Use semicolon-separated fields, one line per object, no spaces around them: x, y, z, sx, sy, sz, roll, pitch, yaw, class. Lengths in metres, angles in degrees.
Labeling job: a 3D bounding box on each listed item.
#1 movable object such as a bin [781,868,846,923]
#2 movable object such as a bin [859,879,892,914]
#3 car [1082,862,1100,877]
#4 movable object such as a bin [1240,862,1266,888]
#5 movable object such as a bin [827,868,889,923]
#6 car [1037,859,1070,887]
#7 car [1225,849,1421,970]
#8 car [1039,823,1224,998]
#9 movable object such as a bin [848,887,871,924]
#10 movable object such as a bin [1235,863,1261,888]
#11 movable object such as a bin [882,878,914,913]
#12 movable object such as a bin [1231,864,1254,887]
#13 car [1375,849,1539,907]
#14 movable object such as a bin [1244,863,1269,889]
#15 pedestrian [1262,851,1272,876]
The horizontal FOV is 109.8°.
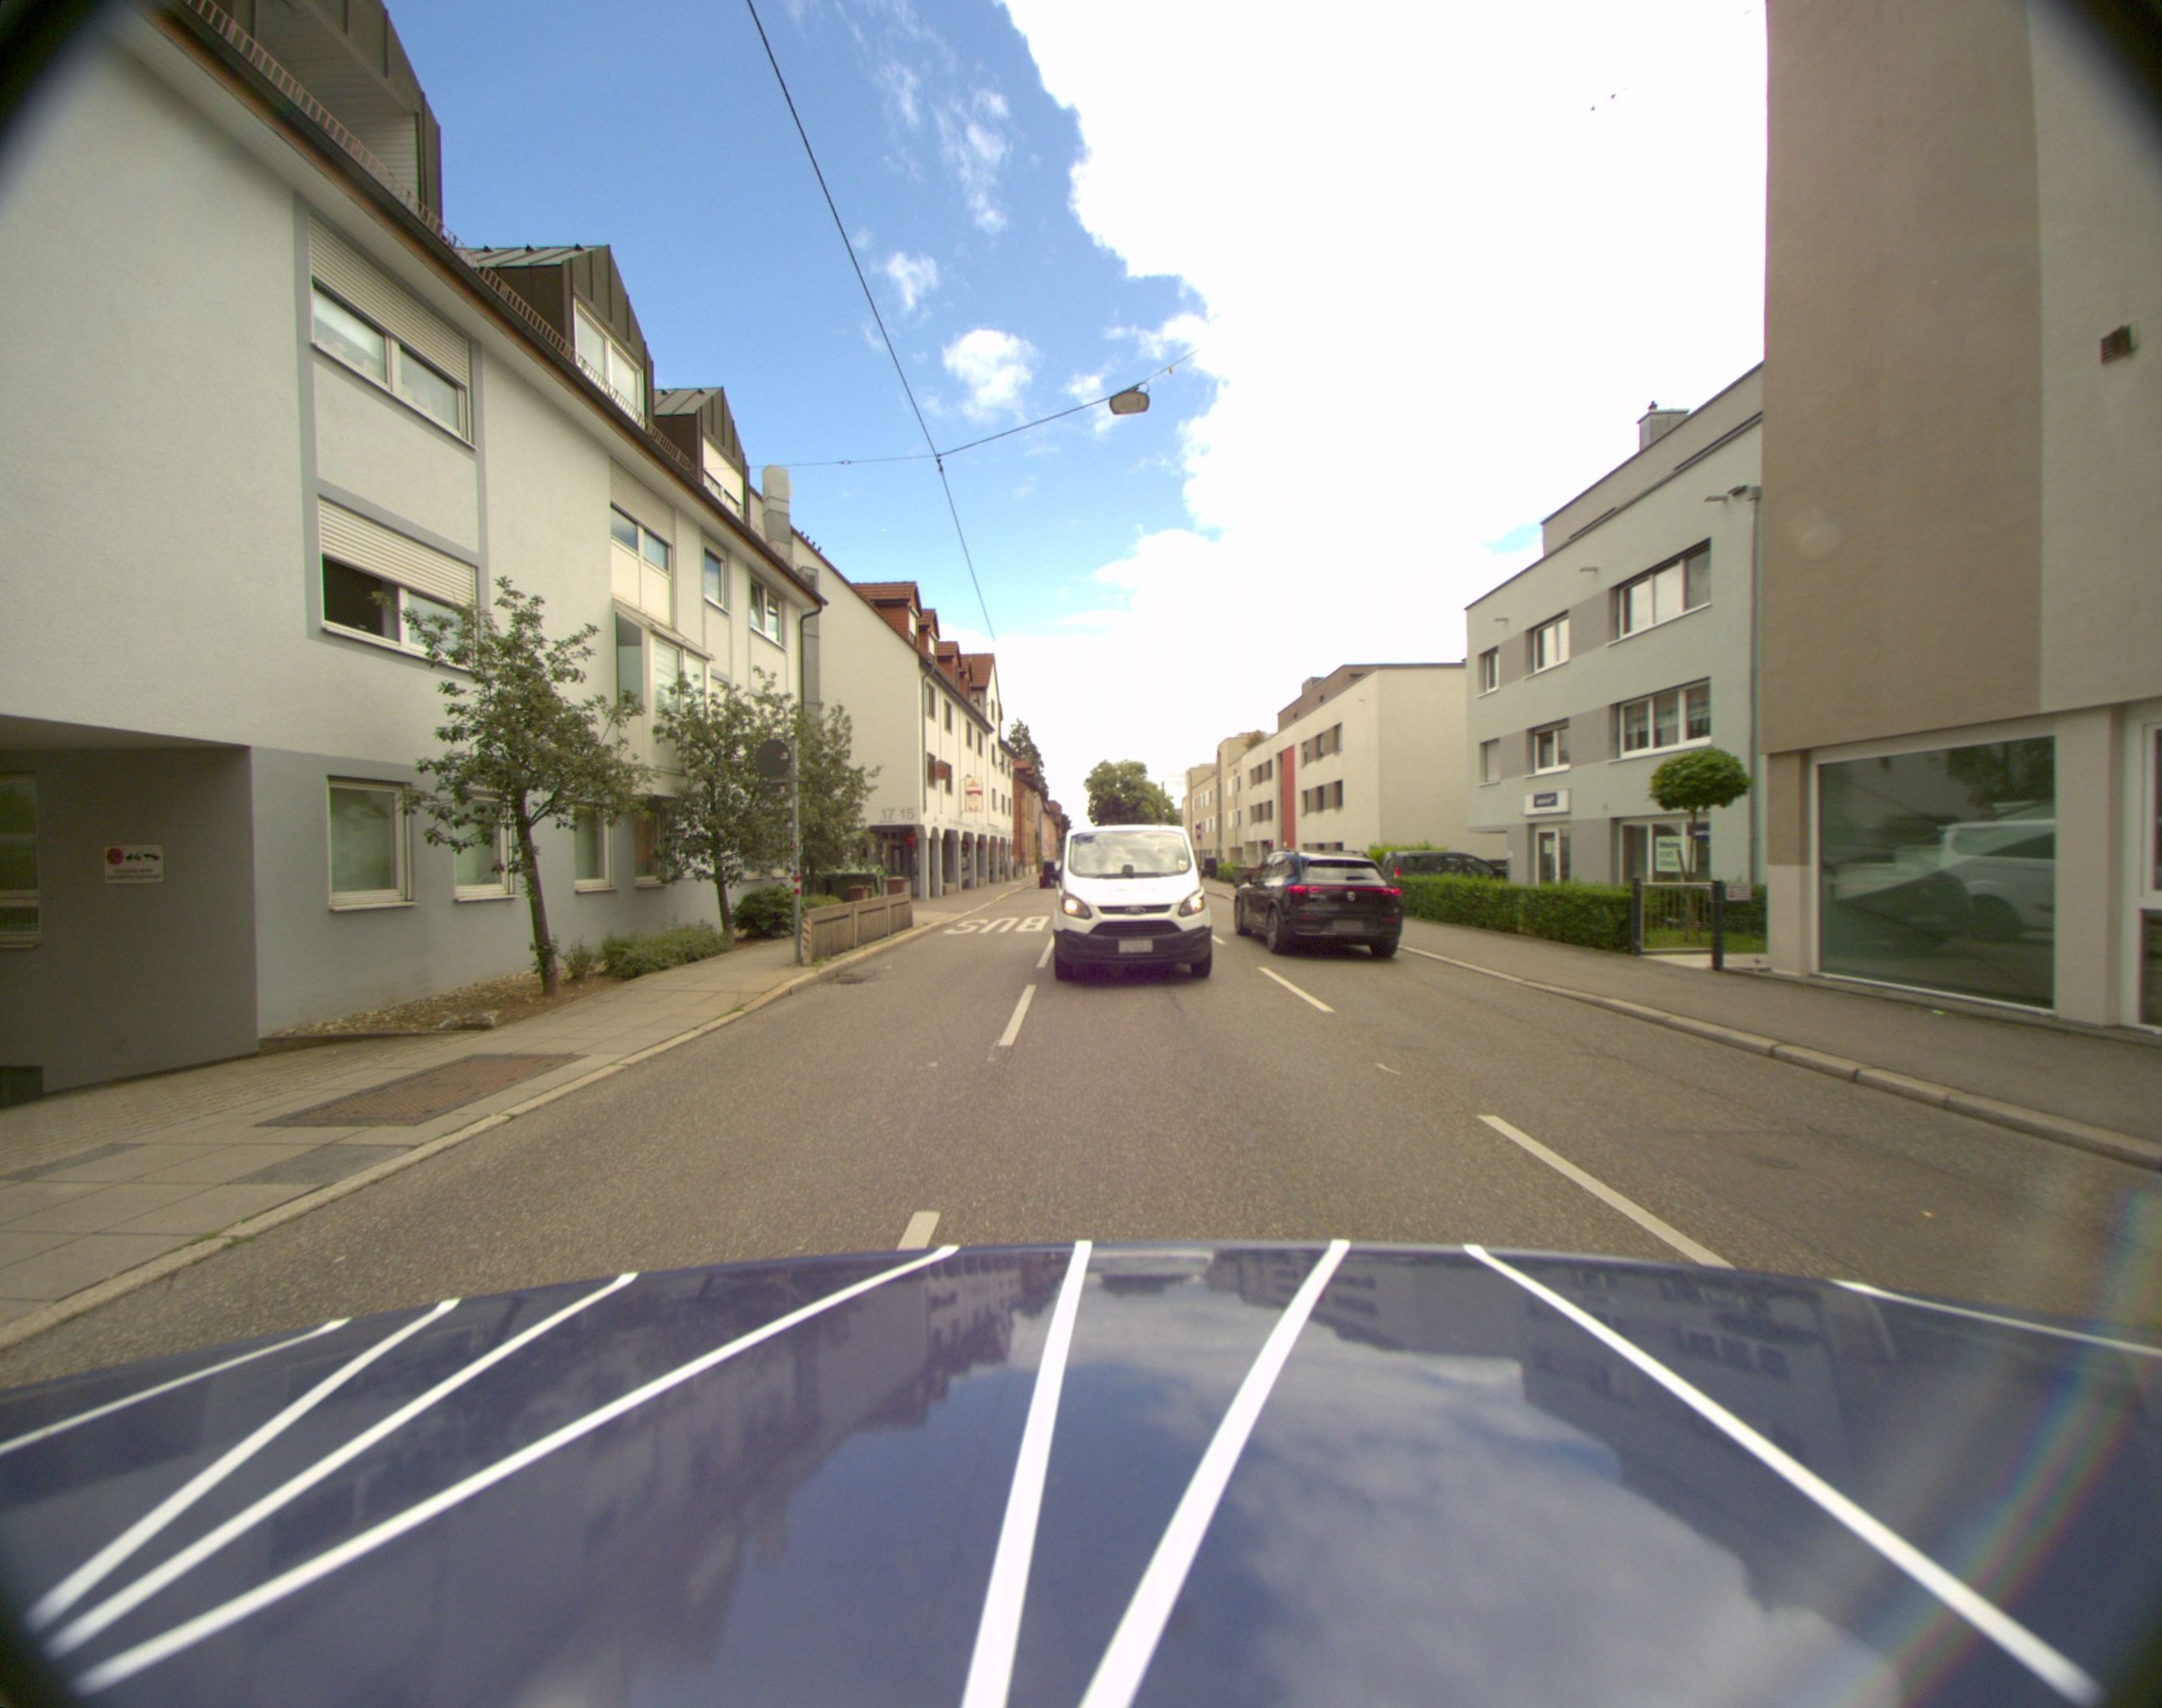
-7.308;1.113;20.841;1.270;1.426;1.307;-1;0;1;movable object such as a bin
-6.580;1.349;24.384;0.699;1.073;0.972;-1;0;5;movable object such as a bin
1.023;1.571;78.101;1.755;1.485;3.986;-1;0;0;car
7.889;0.973;34.887;0.951;1.144;0.749;-1;0;-3;movable object such as a bin
-5.960;1.097;20.419;1.270;1.409;1.162;-1;0;1;movable object such as a bin
-1.536;1.056;43.668;1.755;1.485;3.986;-1;0;0;car
3.976;0.809;13.392;1.998;1.728;4.553;1;0;0;car
0.593;0.639;11.111;2.062;1.945;5.060;-1;0;0;car
-5.706;1.329;19.601;0.431;0.915;0.465;-1;0;1;movable object such as a bin
7.856;0.987;35.751;0.959;1.144;0.840;-1;0;-3;movable object such as a bin
-5.850;1.321;24.342;0.685;1.061;0.972;-1;0;5;movable object such as a bin
7.782;1.017;36.640;0.897;1.082;0.792;-1;0;-3;movable object such as a bin
11.474;0.712;23.406;4.172;1.658;1.725;-1;1;4;car
7.900;0.976;34.172;0.943;1.144;0.612;-1;0;-3;movable object such as a bin
12.022;0.620;49.070;0.519;1.633;0.641;-1;1;19;pedestrian
